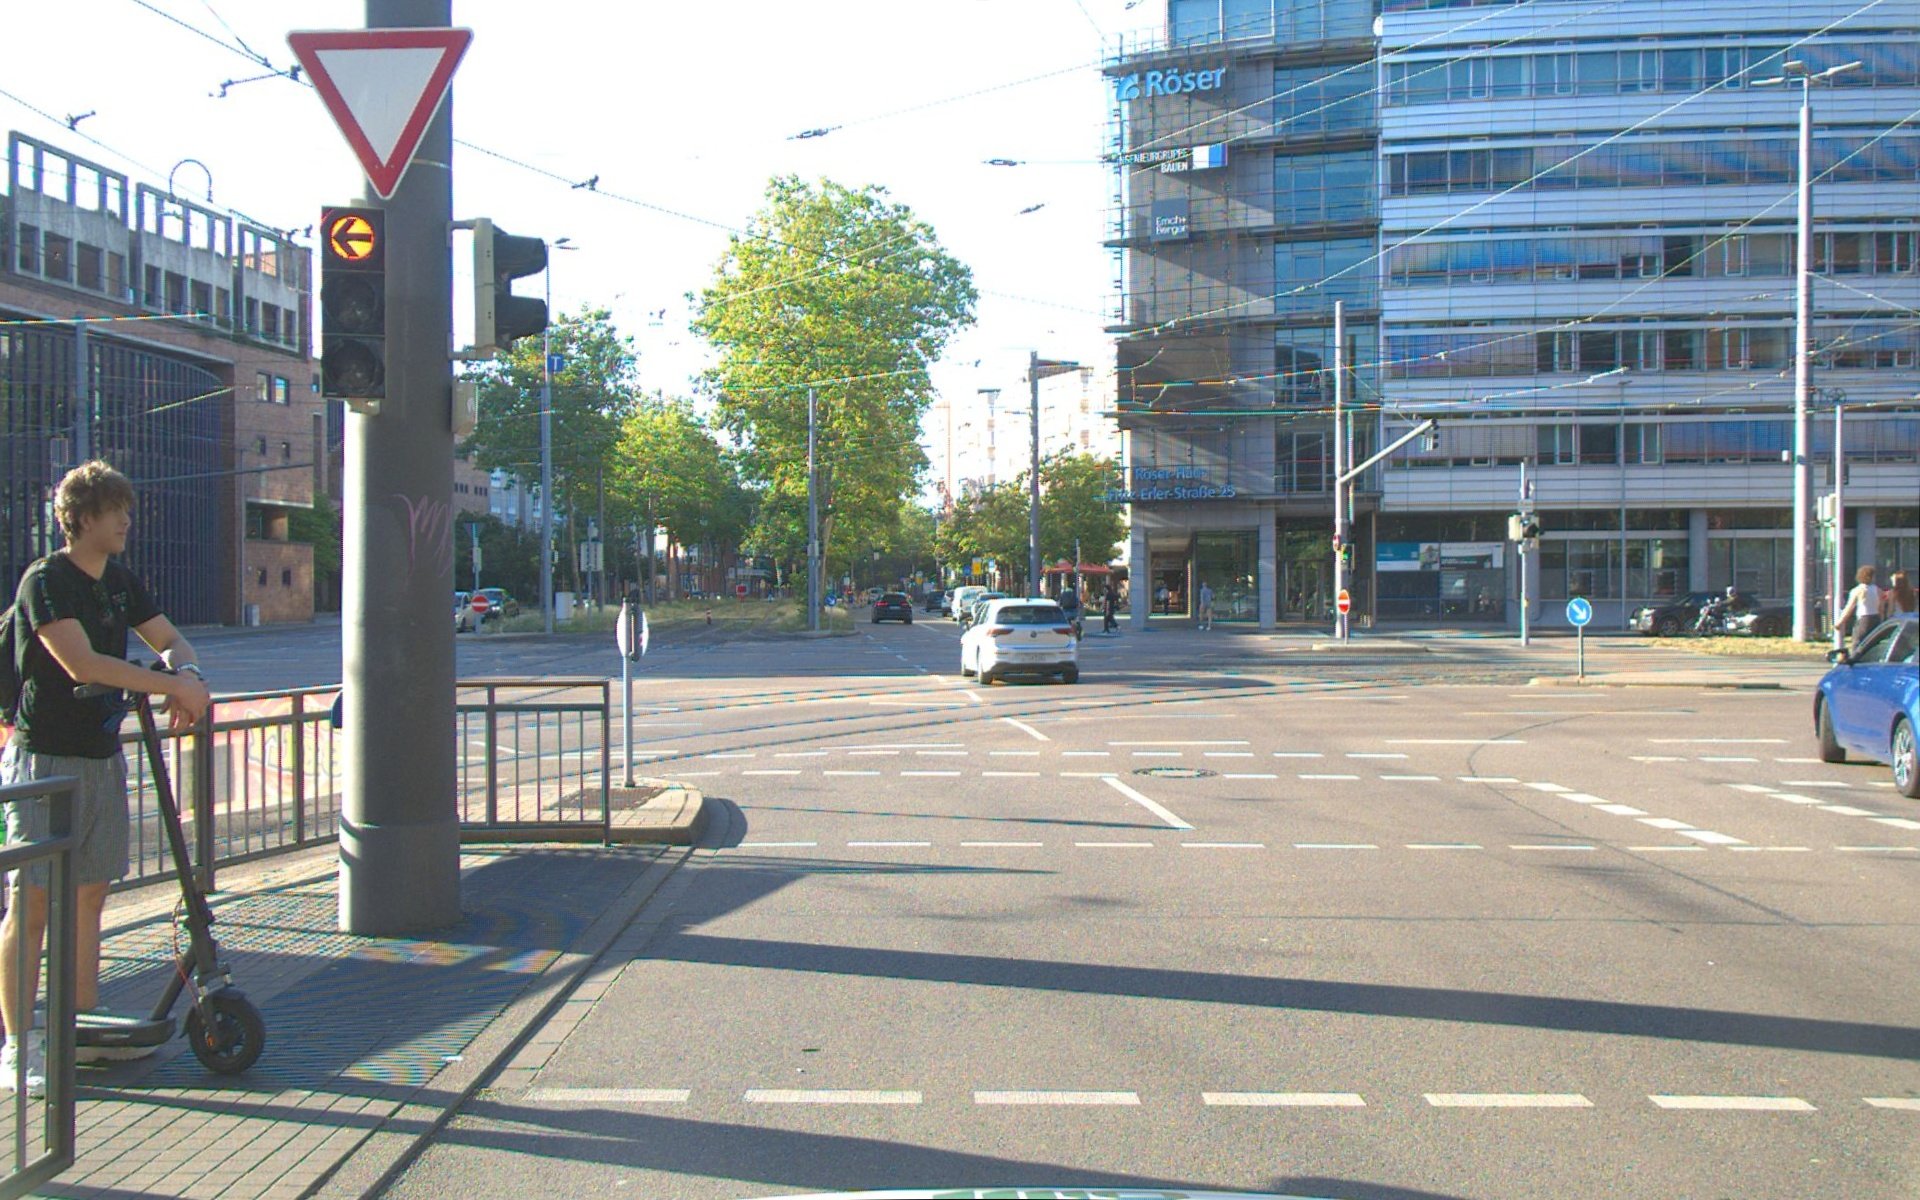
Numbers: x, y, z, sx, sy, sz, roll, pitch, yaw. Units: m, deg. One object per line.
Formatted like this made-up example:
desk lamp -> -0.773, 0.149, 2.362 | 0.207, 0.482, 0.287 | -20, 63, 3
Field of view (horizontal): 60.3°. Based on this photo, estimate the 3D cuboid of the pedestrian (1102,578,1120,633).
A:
pedestrian -> 5.707, 0.203, 62.580 | 0.574, 2.049, 0.620 | 1, -1, 0

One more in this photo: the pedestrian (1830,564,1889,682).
pedestrian -> 13.778, 0.346, 25.351 | 0.663, 1.789, 0.742 | -1, 0, 19

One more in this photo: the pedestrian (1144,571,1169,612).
pedestrian -> 10.756, -0.454, 90.716 | 1.285, 2.228, 1.171 | 1, -1, 5

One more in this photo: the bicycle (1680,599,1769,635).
bicycle -> 23.023, 0.503, 49.819 | 2.359, 1.040, 0.637 | -1, 0, 4

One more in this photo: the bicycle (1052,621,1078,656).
bicycle -> 2.572, 0.938, 40.485 | 0.481, 0.802, 1.861 | 1, 1, -1

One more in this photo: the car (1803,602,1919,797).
car -> 8.665, 0.773, 14.180 | 1.711, 1.485, 4.215 | 1, 0, 15

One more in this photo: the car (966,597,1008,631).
car -> 1.320, 0.685, 82.689 | 1.988, 1.624, 3.999 | 1, 0, -1

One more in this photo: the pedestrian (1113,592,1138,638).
pedestrian -> 6.345, 0.591, 63.522 | 0.852, 1.737, 0.793 | 1, -1, -1

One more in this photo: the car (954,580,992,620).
car -> 0.684, 0.007, 89.632 | 1.953, 2.049, 3.999 | 1, 0, -1

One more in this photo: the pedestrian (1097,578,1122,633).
pedestrian -> 5.654, 0.201, 62.642 | 0.832, 2.049, 0.707 | 1, -1, -2

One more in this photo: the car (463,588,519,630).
car -> -21.148, 0.390, 74.664 | 1.787, 1.821, 3.994 | -1, 0, -7

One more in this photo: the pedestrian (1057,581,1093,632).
pedestrian -> 4.494, 0.252, 64.492 | 1.315, 1.984, 1.011 | 0, 0, -1

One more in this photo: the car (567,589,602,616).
car -> -23.313, 0.138, 102.780 | 1.644, 1.635, 3.994 | 1, 0, -7

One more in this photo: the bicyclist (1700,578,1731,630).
bicyclist -> 22.776, 0.114, 49.851 | 0.649, 1.529, 0.613 | -1, 0, 4

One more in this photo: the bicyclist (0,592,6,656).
bicyclist -> -24.757, 0.614, 42.171 | 0.575, 1.654, 0.514 | -1, 0, -5

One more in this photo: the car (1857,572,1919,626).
car -> 29.424, 0.007, 49.738 | 3.903, 1.579, 1.798 | 1, 0, 4

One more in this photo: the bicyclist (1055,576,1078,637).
bicyclist -> 2.596, 0.146, 40.332 | 0.477, 1.464, 0.615 | 2, 0, -1

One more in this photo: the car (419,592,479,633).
car -> -20.636, 0.485, 66.939 | 1.591, 1.604, 3.994 | -1, 0, -7

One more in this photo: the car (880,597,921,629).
car -> -2.793, 0.574, 76.714 | 1.729, 1.429, 4.292 | 0, 0, -5

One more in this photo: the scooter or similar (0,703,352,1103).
scooter or similar -> -2.589, 0.895, 5.083 | 1.177, 1.100, 0.648 | -1, 0, 3

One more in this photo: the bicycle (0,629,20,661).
bicycle -> -24.755, 1.161, 42.199 | 0.578, 0.784, 1.966 | -1, 0, -5

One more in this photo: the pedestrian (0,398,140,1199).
pedestrian -> -2.838, 0.484, 4.094 | 1.143, 1.917, 0.854 | -1, 0, 4

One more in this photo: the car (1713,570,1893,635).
car -> 24.000, 0.072, 47.210 | 4.165, 1.753, 1.885 | -1, 0, 2

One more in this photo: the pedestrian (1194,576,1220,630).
pedestrian -> 9.555, 0.120, 63.895 | 0.852, 2.049, 0.793 | 1, -2, -1

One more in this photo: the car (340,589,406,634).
car -> -24.740, 0.459, 69.836 | 1.832, 1.793, 3.993 | 1, 0, -8

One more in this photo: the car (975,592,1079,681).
car -> 1.154, 0.600, 29.497 | 1.712, 1.443, 4.001 | 0, 0, 1

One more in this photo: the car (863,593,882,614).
car -> -10.272, 0.402, 195.285 | 1.952, 2.049, 3.998 | 1, -7, 0

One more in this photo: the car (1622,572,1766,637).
car -> 24.336, 0.150, 54.914 | 3.906, 2.049, 2.000 | 1, 0, -1

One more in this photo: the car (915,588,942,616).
car -> -2.414, 0.146, 126.742 | 1.953, 2.049, 3.999 | 1, 0, -1

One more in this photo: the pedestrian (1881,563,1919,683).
pedestrian -> 14.439, 0.342, 25.108 | 0.669, 1.789, 0.742 | -1, 0, 19

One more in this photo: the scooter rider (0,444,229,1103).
scooter rider -> -2.701, 0.505, 5.101 | 0.554, 1.885, 0.680 | -1, -2, 4
